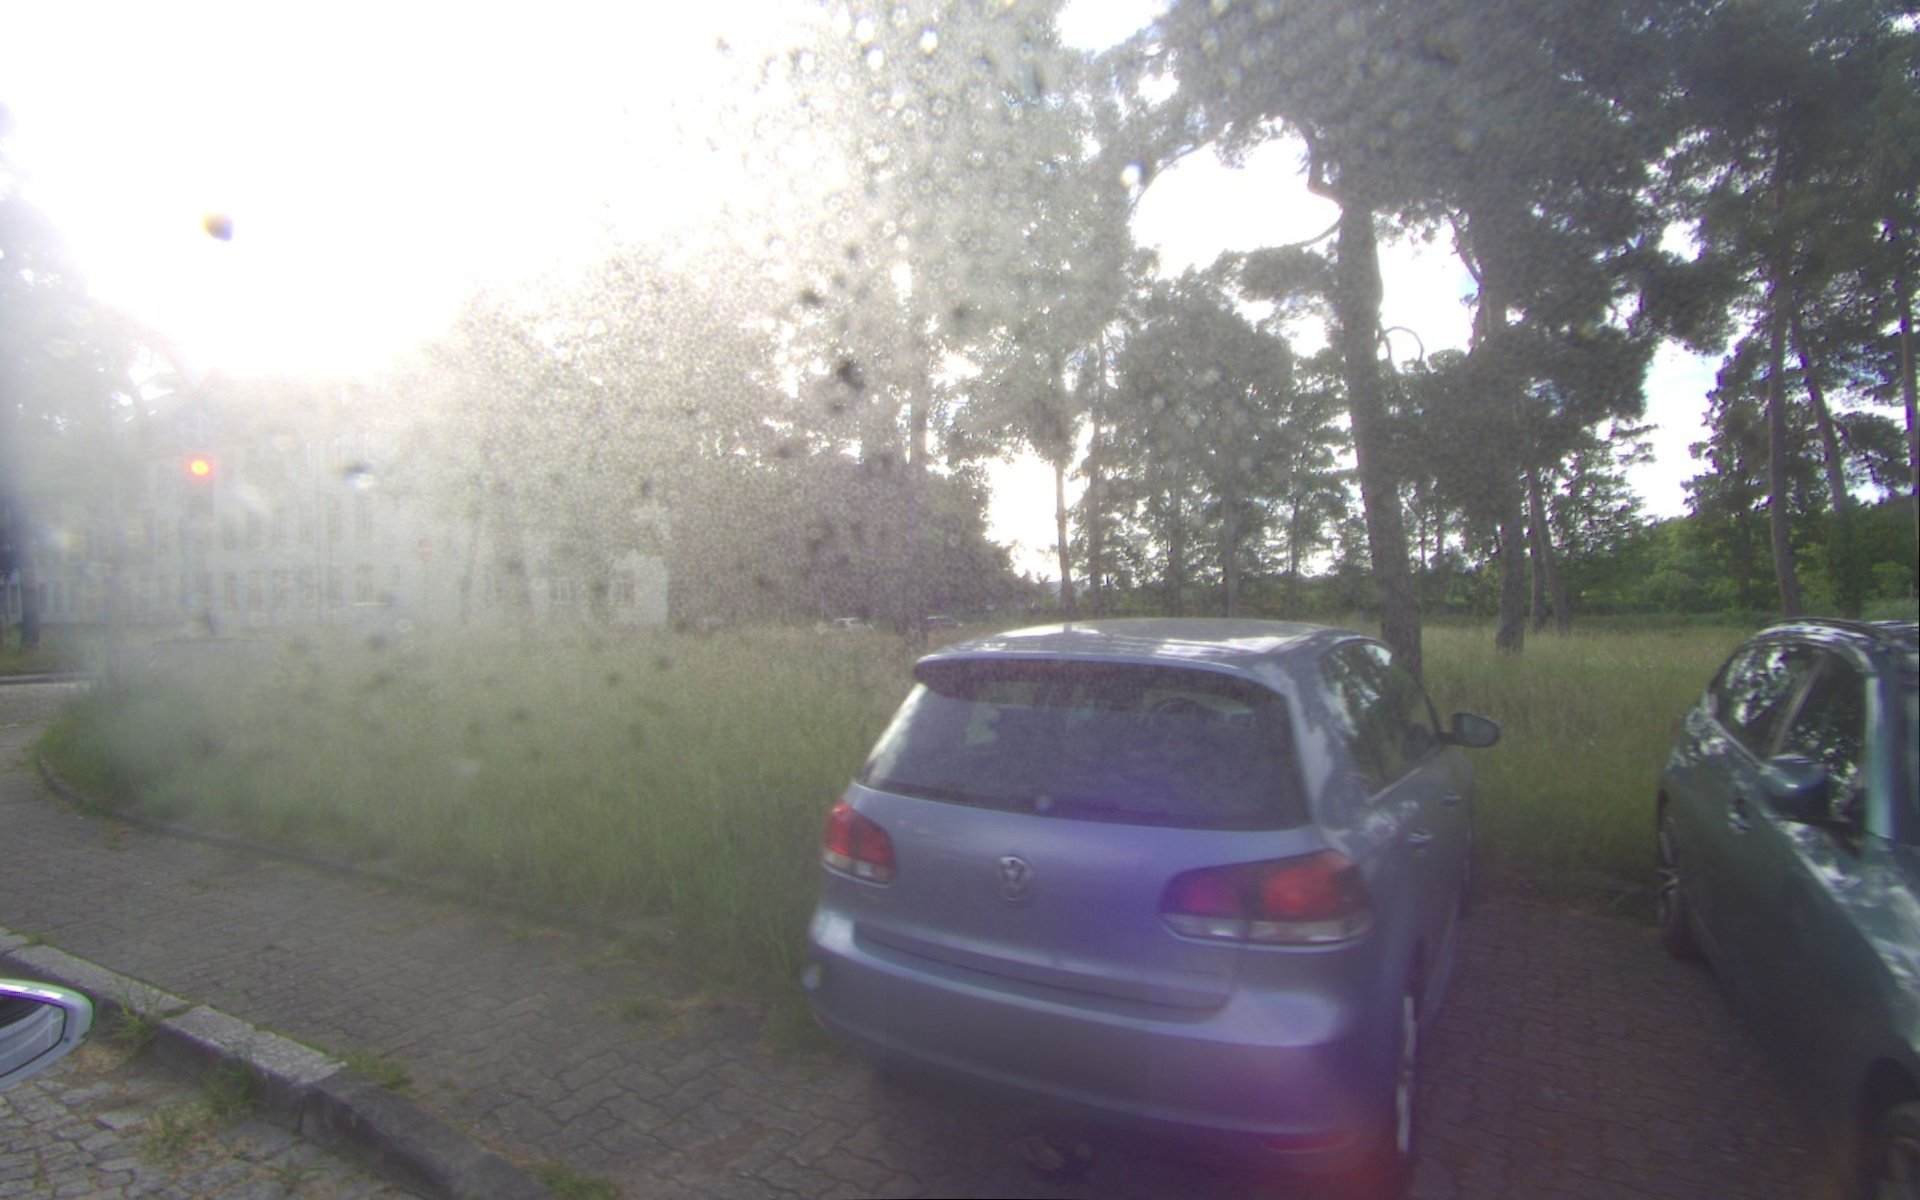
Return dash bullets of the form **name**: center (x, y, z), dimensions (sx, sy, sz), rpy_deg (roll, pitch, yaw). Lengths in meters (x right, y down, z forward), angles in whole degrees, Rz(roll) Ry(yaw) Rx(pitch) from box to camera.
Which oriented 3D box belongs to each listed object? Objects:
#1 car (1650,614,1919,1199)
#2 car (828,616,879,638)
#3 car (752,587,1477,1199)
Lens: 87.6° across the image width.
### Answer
- **car**: center (3.240, 0.792, 2.704), dimensions (1.780, 1.502, 4.509), rpy_deg (0, -1, 28)
- **car**: center (-7.524, 1.947, 71.049), dimensions (1.540, 1.415, 3.983), rpy_deg (-1, -3, 31)
- **car**: center (1.071, 0.753, 3.929), dimensions (1.617, 1.490, 3.839), rpy_deg (0, -1, 29)
